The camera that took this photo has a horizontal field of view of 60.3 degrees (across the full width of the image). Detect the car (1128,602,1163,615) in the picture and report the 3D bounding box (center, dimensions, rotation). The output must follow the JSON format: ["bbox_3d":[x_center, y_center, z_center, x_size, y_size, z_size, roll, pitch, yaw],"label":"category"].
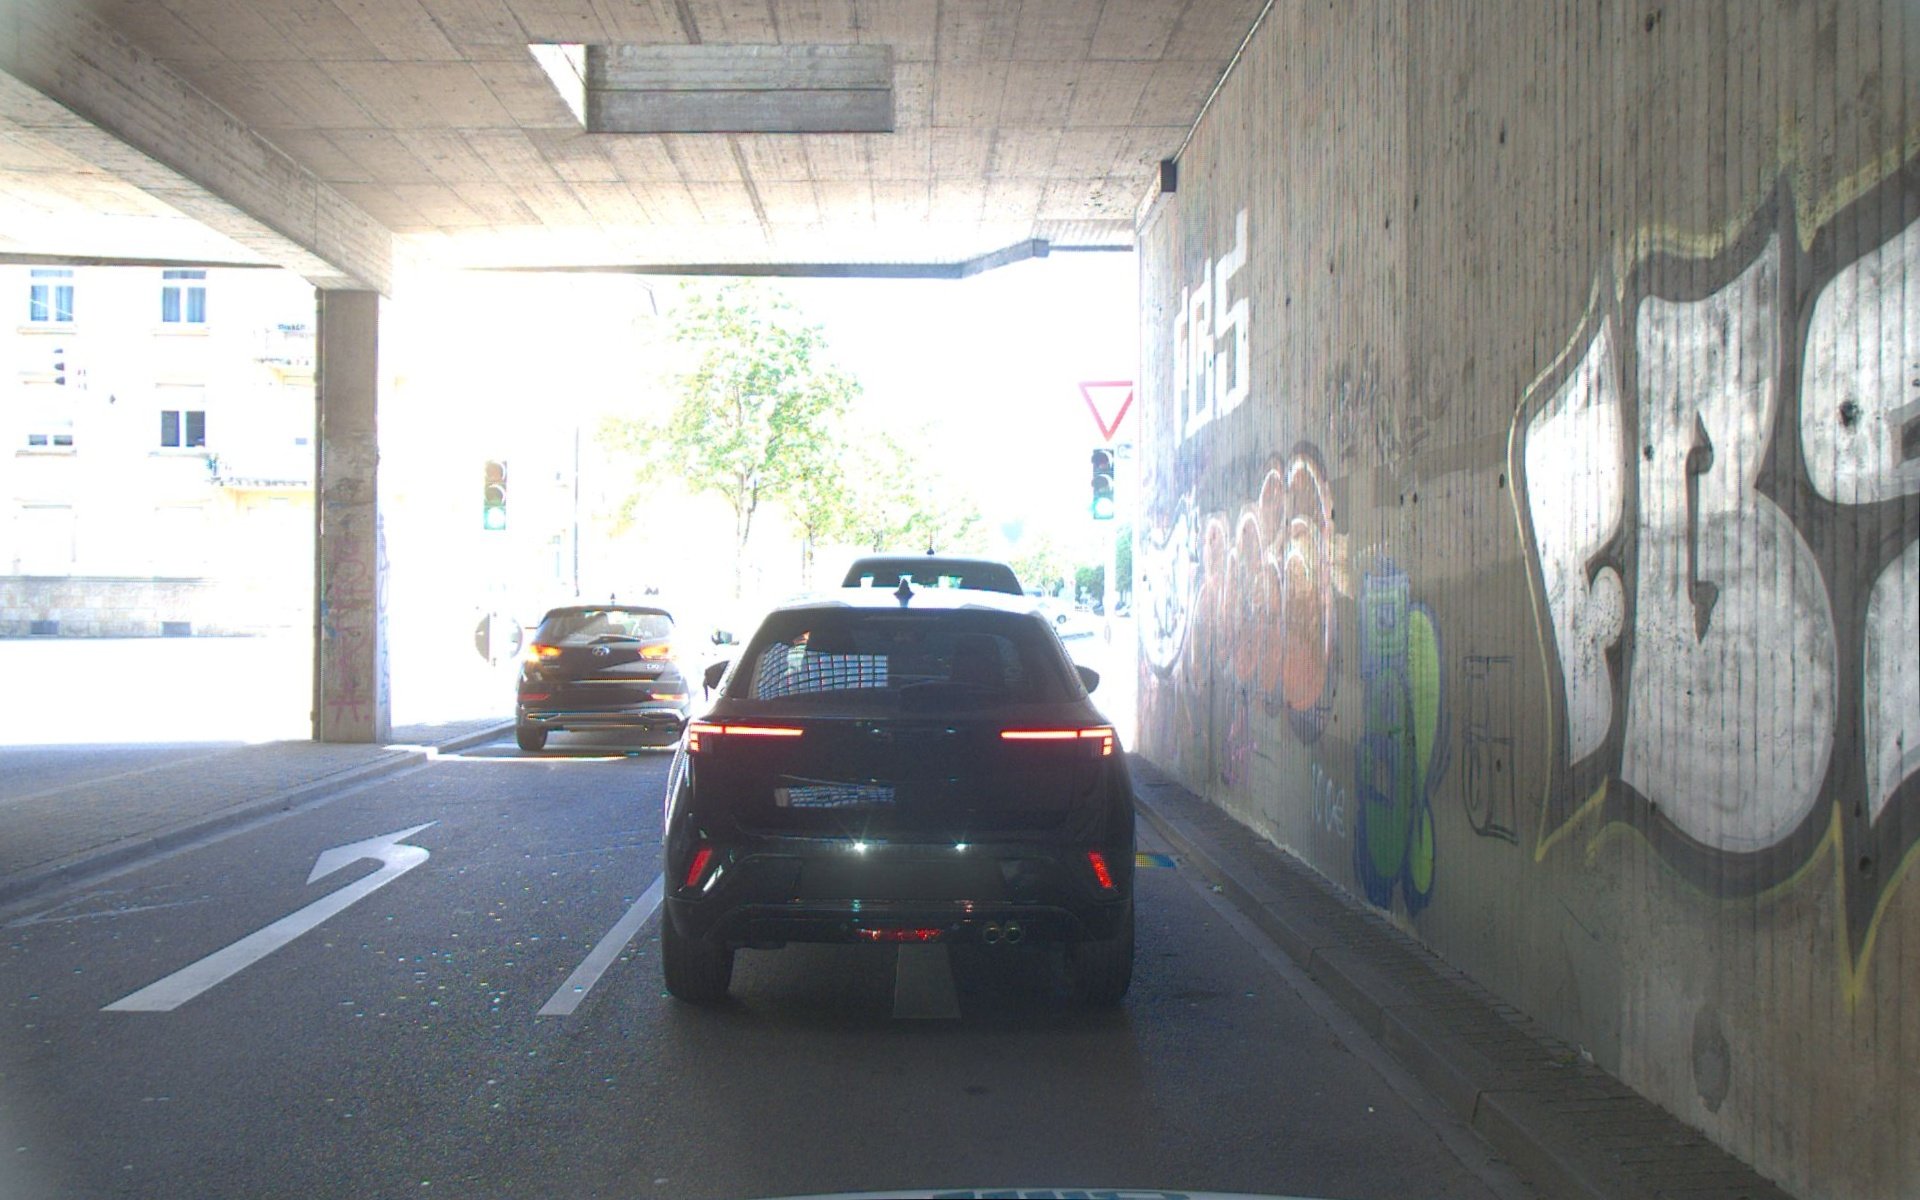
[{"bbox_3d":[21.588,0.996,192.924,3.866,1.421,1.516,-3,-1,1],"label":"car"}]

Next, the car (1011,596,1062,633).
[{"bbox_3d":[3.392,0.618,72.735,1.668,1.539,3.866,-2,0,11],"label":"car"}]

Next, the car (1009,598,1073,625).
[{"bbox_3d":[6.566,0.892,133.686,4.822,2.119,1.970,0,-1,-26],"label":"car"}]

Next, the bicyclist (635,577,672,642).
[{"bbox_3d":[-8.098,0.245,43.772,0.766,1.689,1.031,0,0,1],"label":"bicyclist"}]

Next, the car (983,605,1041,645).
[{"bbox_3d":[2.052,0.956,64.568,1.671,1.477,3.854,0,0,11],"label":"car"}]

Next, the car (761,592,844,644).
[{"bbox_3d":[-4.608,0.511,48.692,1.622,1.466,3.466,0,0,9],"label":"car"}]

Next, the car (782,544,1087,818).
[{"bbox_3d":[-0.306,0.542,13.823,2.090,1.867,4.937,0,0,-3],"label":"car"}]

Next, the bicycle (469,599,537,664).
[{"bbox_3d":[-8.567,0.568,31.096,0.683,1.109,1.861,0,2,2],"label":"bicycle"}]

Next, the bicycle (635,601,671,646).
[{"bbox_3d":[-8.105,0.604,43.738,0.530,1.142,2.059,0,0,1],"label":"bicycle"}]

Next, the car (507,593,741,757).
[{"bbox_3d":[-3.330,0.668,17.164,1.765,1.476,4.323,0,0,-3],"label":"car"}]

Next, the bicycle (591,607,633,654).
[{"bbox_3d":[-8.458,0.735,40.254,0.514,1.109,1.861,0,0,4],"label":"bicycle"}]

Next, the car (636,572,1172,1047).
[{"bbox_3d":[-0.206,0.685,7.313,1.745,1.544,3.755,1,0,-1],"label":"car"}]

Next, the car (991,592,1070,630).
[{"bbox_3d":[4.911,0.778,115.915,5.175,2.590,1.977,0,-1,-16],"label":"car"}]

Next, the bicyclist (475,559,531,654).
[{"bbox_3d":[-8.582,0.113,31.083,0.730,1.741,0.967,0,2,2],"label":"bicyclist"}]

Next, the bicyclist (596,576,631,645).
[{"bbox_3d":[-8.448,0.242,40.334,0.593,1.661,0.910,0,0,4],"label":"bicyclist"}]
